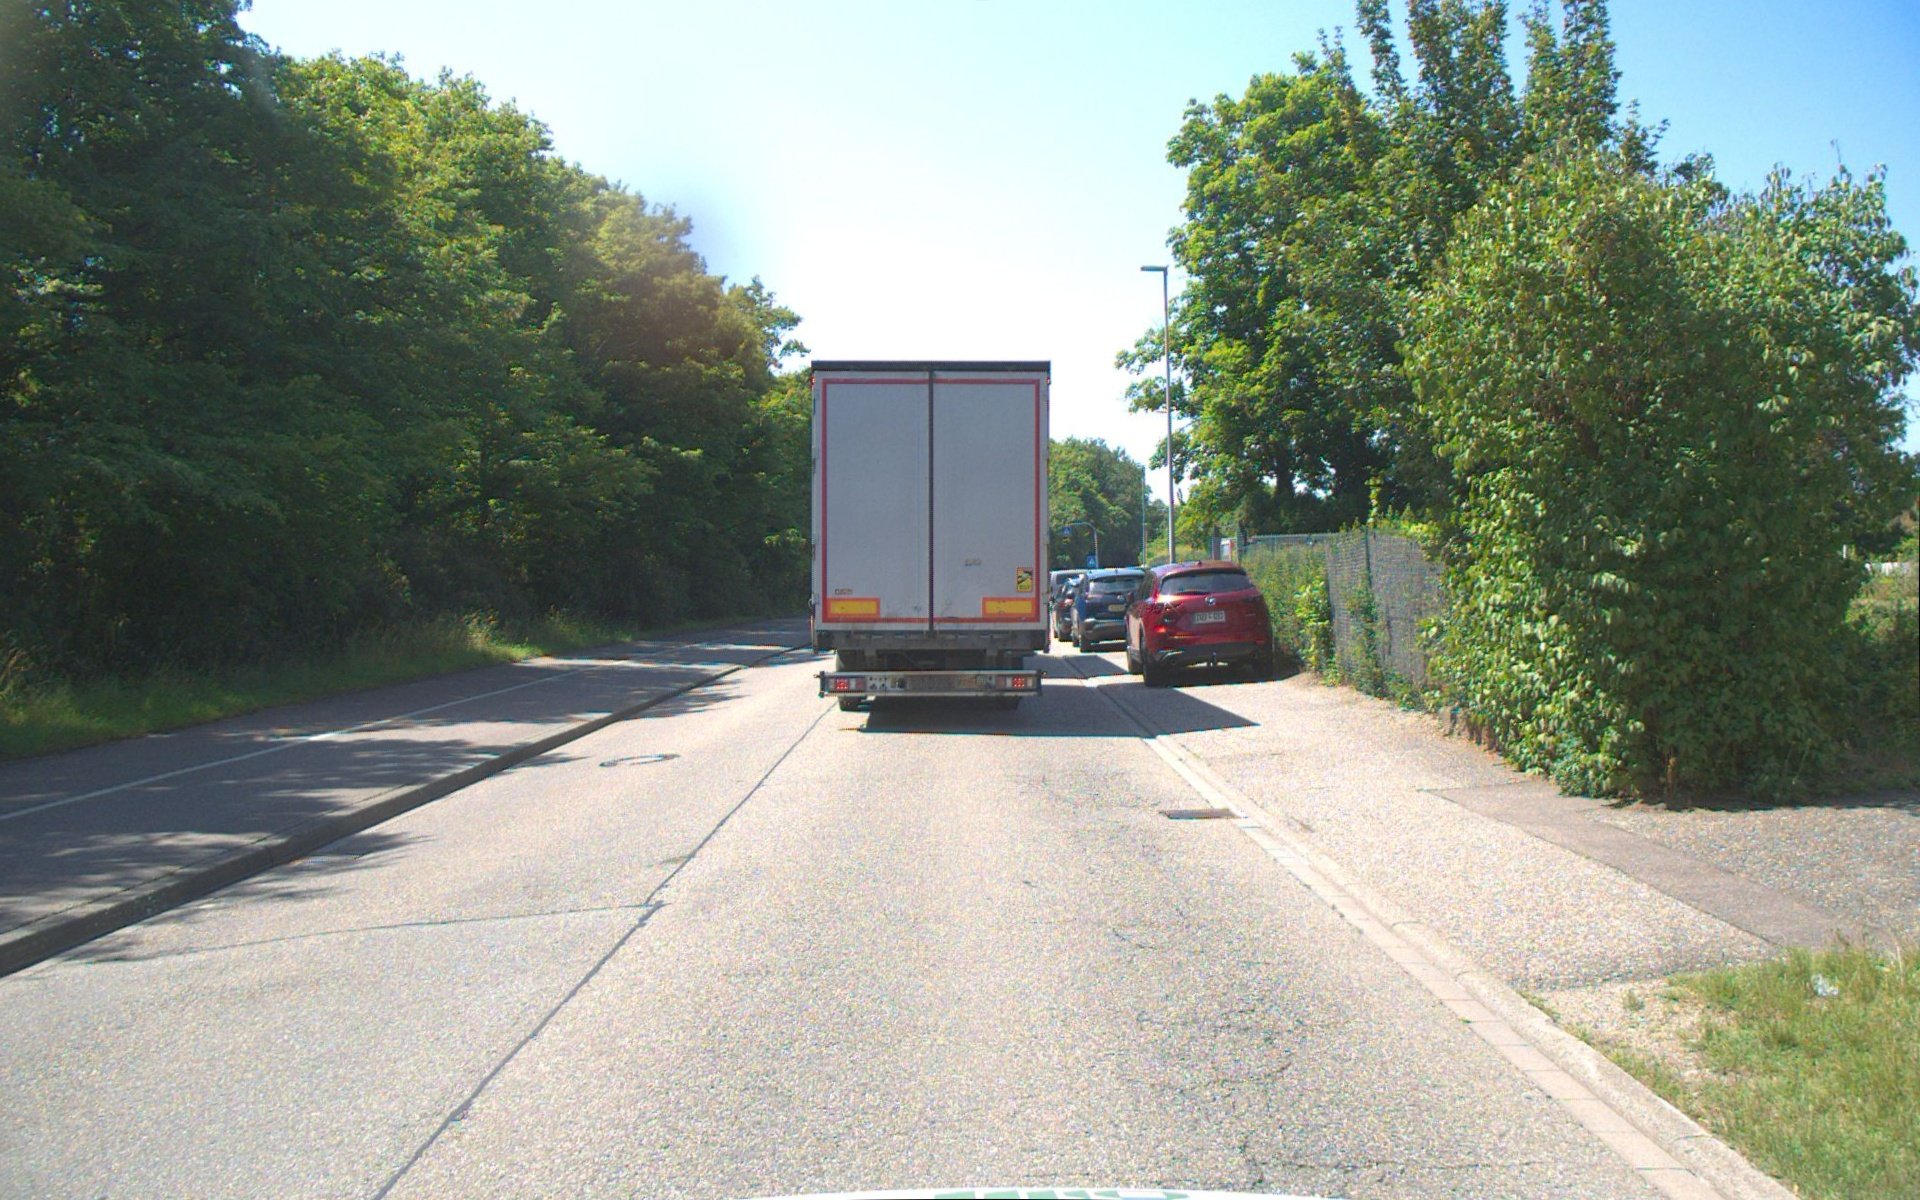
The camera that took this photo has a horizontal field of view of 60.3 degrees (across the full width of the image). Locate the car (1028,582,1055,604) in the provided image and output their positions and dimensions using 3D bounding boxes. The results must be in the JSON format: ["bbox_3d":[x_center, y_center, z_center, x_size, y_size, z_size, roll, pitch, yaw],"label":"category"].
[{"bbox_3d":[6.004,-0.551,122.037,1.743,1.512,4.003,-1,1,6],"label":"car"}]

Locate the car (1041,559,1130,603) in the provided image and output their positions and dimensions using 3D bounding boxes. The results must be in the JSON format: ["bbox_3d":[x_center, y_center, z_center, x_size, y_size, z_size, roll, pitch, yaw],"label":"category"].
[{"bbox_3d":[6.669,-1.010,87.687,4.525,1.880,1.997,-5,1,5],"label":"car"}]

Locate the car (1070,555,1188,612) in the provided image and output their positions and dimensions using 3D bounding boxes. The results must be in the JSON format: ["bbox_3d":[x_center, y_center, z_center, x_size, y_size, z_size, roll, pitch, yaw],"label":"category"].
[{"bbox_3d":[6.271,-0.626,61.573,4.169,1.727,1.854,-5,0,4],"label":"car"}]

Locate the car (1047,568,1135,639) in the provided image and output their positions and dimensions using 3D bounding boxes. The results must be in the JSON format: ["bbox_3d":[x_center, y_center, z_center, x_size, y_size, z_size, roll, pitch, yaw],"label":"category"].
[{"bbox_3d":[3.185,0.044,40.975,1.753,1.507,4.666,-5,1,1],"label":"car"}]

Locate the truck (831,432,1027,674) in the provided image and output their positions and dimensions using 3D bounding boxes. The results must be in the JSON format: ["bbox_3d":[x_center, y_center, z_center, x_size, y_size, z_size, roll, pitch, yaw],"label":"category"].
[{"bbox_3d":[-0.512,-0.791,29.442,3.050,3.790,6.413,-1,1,-1],"label":"truck"}]

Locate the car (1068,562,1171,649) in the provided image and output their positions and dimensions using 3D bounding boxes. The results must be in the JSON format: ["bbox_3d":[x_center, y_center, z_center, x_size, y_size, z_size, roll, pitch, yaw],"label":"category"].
[{"bbox_3d":[3.284,0.069,34.765,1.753,1.631,4.130,-3,1,1],"label":"car"}]

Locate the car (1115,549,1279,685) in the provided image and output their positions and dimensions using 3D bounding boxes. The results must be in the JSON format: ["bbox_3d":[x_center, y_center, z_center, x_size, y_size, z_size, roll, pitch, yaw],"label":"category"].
[{"bbox_3d":[3.412,0.188,24.620,1.753,1.686,4.453,-5,1,1],"label":"car"}]

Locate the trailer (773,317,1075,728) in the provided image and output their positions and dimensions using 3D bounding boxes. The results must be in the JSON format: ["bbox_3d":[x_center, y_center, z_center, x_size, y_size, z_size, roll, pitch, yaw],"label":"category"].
[{"bbox_3d":[-0.443,-0.870,22.793,3.049,4.174,11.535,-1,1,-1],"label":"trailer"}]

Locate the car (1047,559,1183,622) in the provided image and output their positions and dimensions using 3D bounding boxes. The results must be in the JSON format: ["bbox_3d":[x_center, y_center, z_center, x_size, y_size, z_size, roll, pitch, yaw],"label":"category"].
[{"bbox_3d":[5.282,-0.342,56.781,4.379,1.733,1.914,-5,1,1],"label":"car"}]
